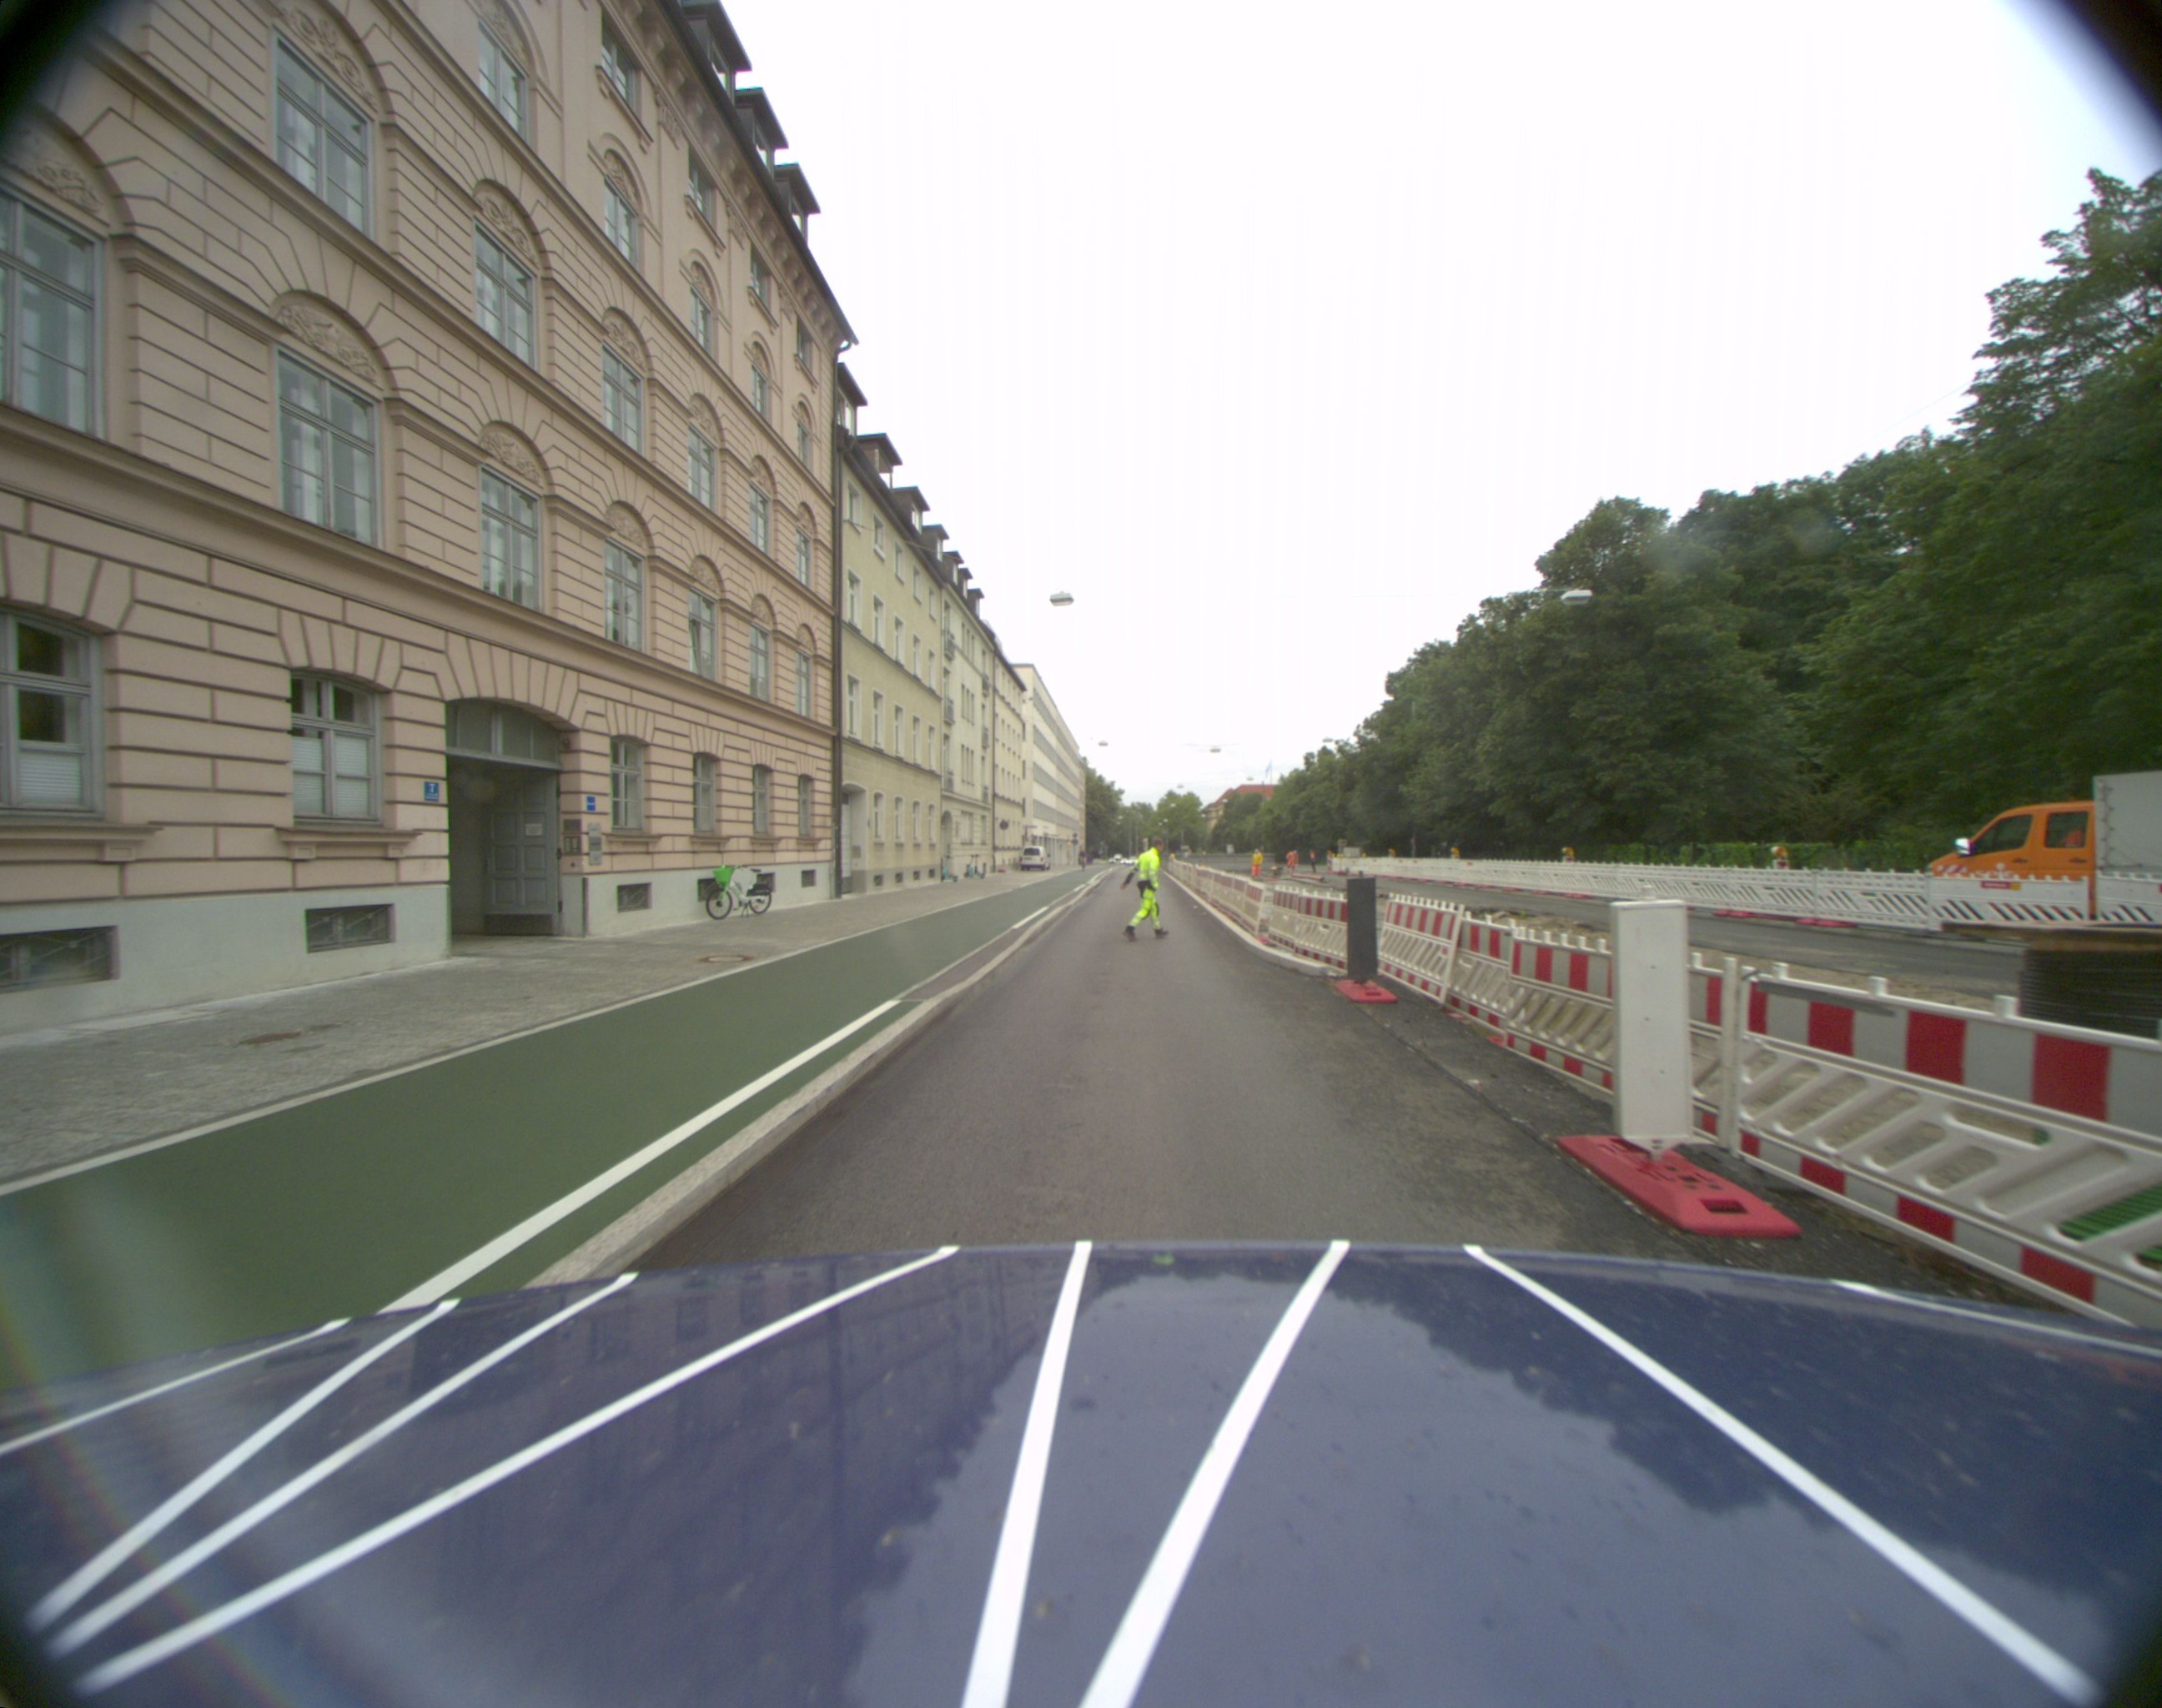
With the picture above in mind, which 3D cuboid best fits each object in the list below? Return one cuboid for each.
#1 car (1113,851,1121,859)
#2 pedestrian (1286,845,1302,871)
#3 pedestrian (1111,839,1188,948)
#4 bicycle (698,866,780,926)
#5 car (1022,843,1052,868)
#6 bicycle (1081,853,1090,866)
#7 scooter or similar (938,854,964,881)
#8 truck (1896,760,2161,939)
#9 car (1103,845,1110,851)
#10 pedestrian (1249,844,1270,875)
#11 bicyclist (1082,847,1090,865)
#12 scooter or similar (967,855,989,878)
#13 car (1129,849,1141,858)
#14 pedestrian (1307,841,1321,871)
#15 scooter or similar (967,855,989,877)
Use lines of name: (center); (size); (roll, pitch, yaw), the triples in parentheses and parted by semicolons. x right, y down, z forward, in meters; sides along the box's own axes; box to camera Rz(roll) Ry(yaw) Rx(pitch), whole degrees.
car: (9.539, 0.224, 203.094); (1.998, 2.002, 4.000); (-2, 1, 2)
pedestrian: (14.302, 0.270, 50.988); (0.899, 1.679, 0.911); (0, 1, 7)
pedestrian: (1.188, 0.664, 13.237); (0.994, 1.792, 0.813); (-2, 1, -28)
bicycle: (-7.282, 0.872, 16.275); (0.556, 1.170, 1.727); (1, 1, 19)
car: (-3.256, 0.097, 57.066); (1.765, 1.821, 4.001); (0, 1, 4)
bicycle: (0.334, 0.432, 59.592); (0.632, 1.031, 2.017); (0, 1, -2)
scooter or similar: (-5.927, 0.612, 34.762); (0.552, 1.238, 1.079); (1, 1, 39)
truck: (18.303, -0.078, 13.204); (2.126, 2.833, 6.214); (0, 1, 7)
car: (7.519, -1.759, 225.962); (1.998, 1.560, 4.001); (0, 1, 3)
pedestrian: (10.685, 0.299, 45.543); (0.877, 1.826, 0.858); (-1, 1, -38)
bicyclist: (0.404, 0.159, 59.606); (0.632, 1.459, 0.653); (0, 1, -2)
scooter or similar: (-5.371, 0.624, 39.579); (1.078, 1.185, 0.453); (0, 1, -25)
car: (9.308, -0.040, 130.600); (1.759, 1.461, 3.999); (-2, 1, -1)
pedestrian: (15.366, 0.125, 50.106); (0.666, 1.959, 0.807); (1, 1, 30)
scooter or similar: (-5.544, 0.624, 40.930); (1.079, 1.185, 0.436); (-1, 1, -36)
